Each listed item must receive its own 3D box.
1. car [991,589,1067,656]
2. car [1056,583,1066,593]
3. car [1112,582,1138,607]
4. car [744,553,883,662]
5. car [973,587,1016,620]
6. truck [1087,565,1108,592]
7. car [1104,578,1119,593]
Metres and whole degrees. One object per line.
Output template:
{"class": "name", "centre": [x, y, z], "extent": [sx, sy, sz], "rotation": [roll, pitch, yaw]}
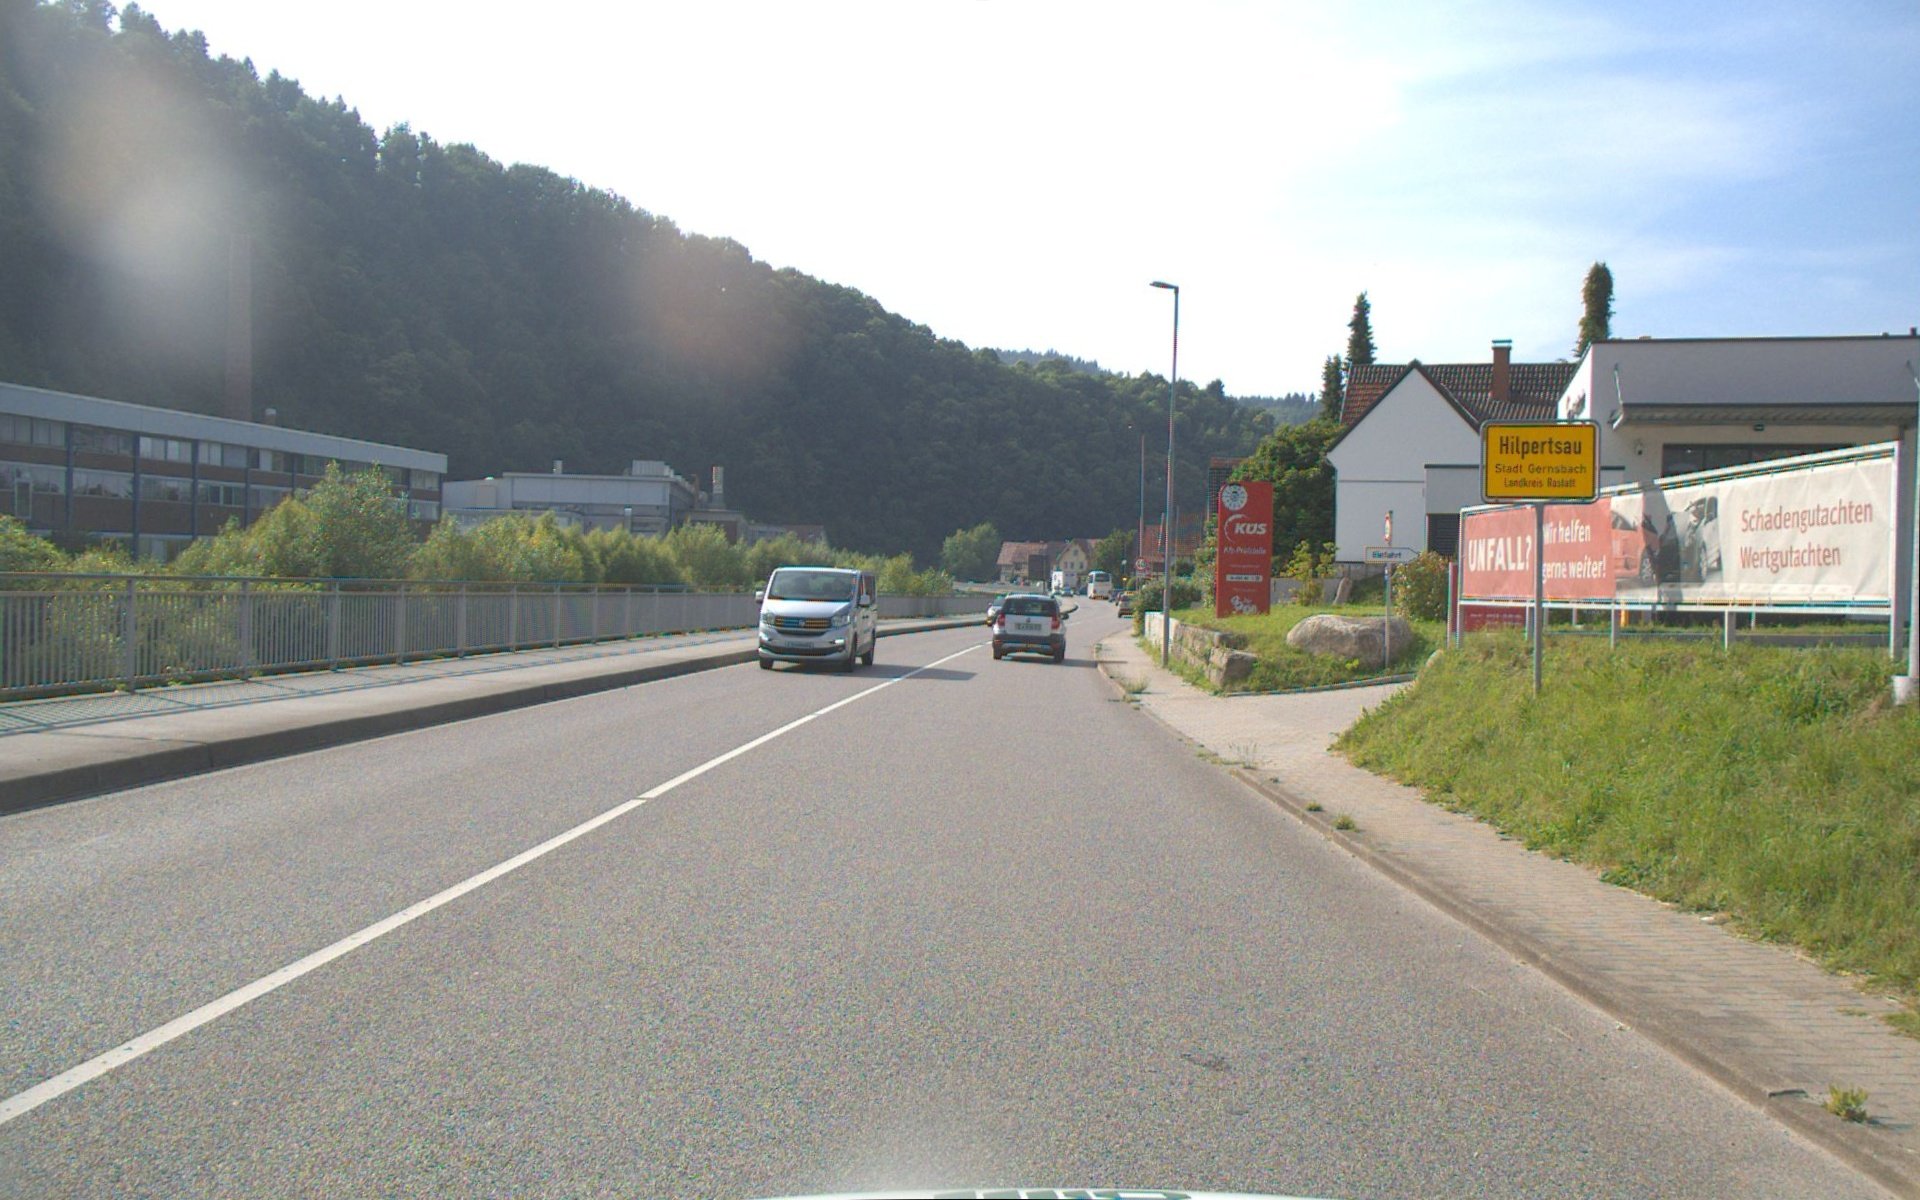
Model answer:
{"class": "car", "centre": [1.814, 0.528, 42.429], "extent": [1.822, 1.571, 4.375], "rotation": [2, 0, 3]}
{"class": "car", "centre": [15.494, -1.872, 253.086], "extent": [1.403, 1.407, 3.137], "rotation": [2, 2, 3]}
{"class": "car", "centre": [11.254, -0.368, 112.662], "extent": [1.587, 1.568, 3.280], "rotation": [2, 0, 7]}
{"class": "car", "centre": [-2.850, 0.149, 33.328], "extent": [1.879, 2.002, 5.149], "rotation": [1, 0, 5]}
{"class": "car", "centre": [1.694, 0.171, 79.175], "extent": [1.775, 1.510, 4.800], "rotation": [2, 0, 4]}
{"class": "truck", "centre": [18.955, -2.988, 228.230], "extent": [2.671, 3.433, 6.483], "rotation": [2, 2, 5]}
{"class": "car", "centre": [18.199, -1.762, 198.769], "extent": [1.638, 1.783, 3.451], "rotation": [2, 2, 8]}
